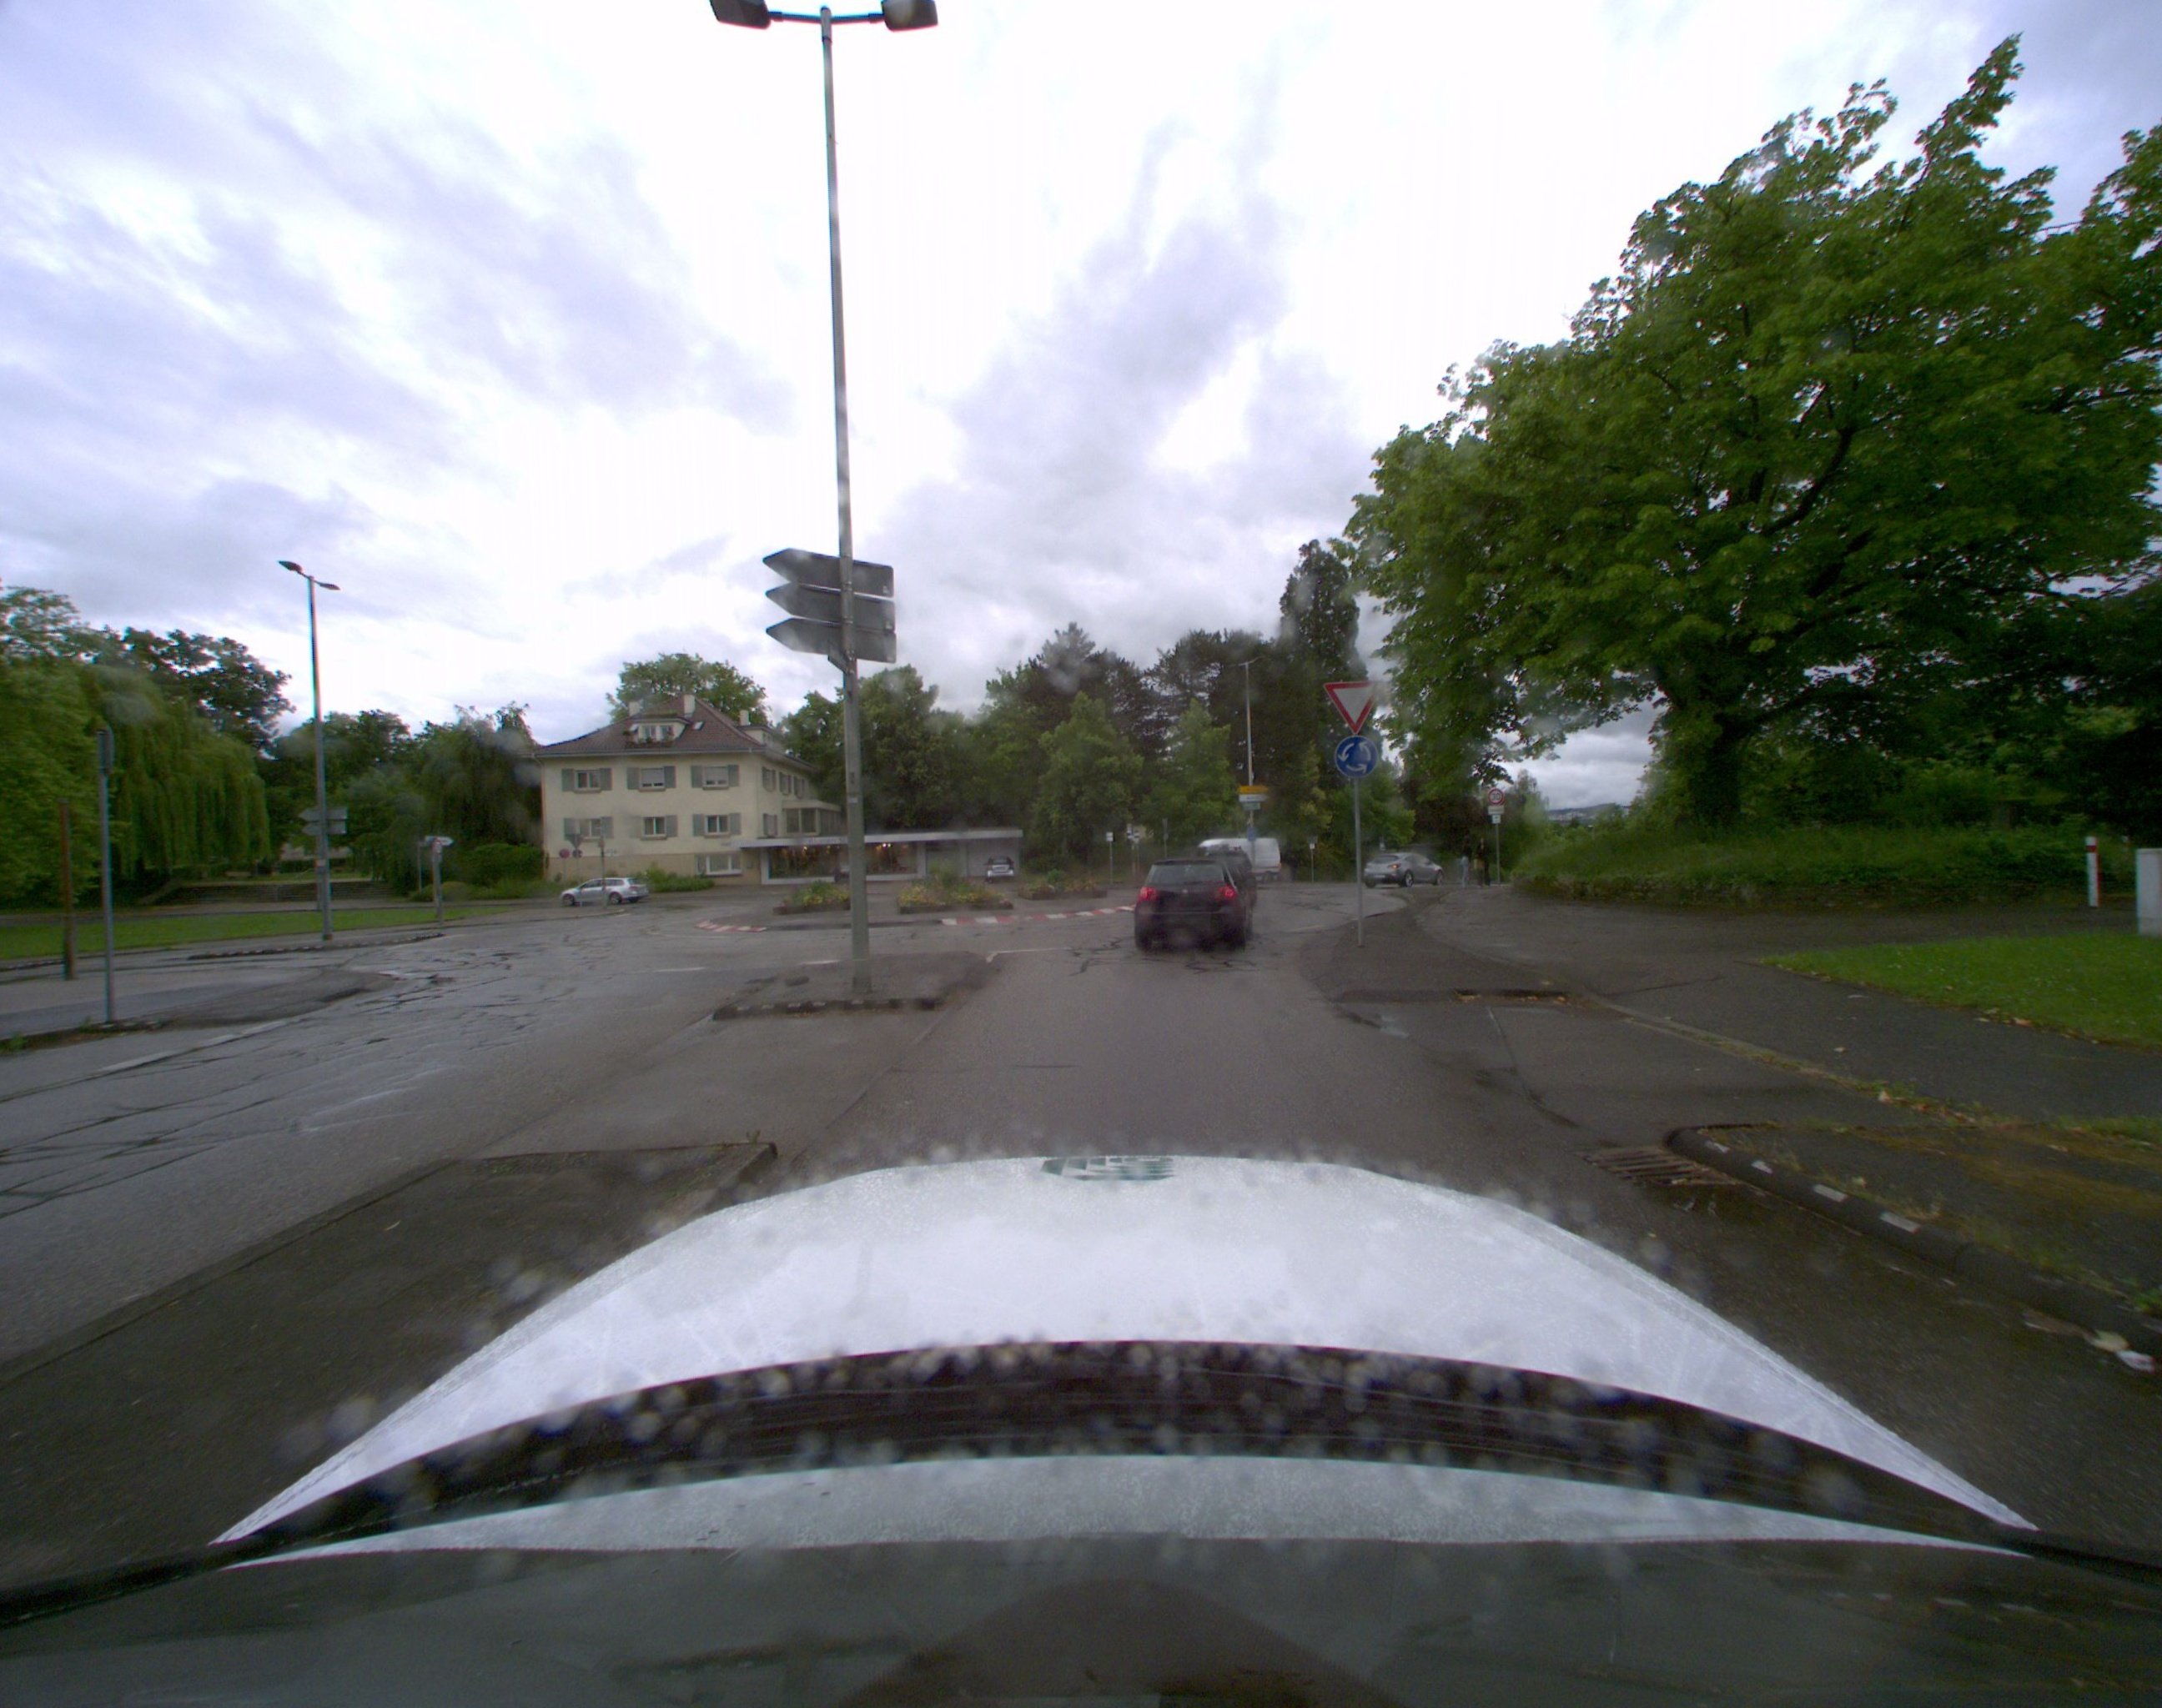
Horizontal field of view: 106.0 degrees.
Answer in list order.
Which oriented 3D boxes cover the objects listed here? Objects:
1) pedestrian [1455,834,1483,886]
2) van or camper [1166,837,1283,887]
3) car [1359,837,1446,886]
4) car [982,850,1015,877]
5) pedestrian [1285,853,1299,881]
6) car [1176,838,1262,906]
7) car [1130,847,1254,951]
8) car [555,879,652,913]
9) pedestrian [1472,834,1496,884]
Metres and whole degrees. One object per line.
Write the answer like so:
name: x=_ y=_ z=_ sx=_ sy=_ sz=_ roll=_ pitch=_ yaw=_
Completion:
pedestrian: x=13.022 y=0.200 z=27.335 sx=0.529 sy=1.713 sz=0.633 roll=0 pitch=-1 yaw=-14
van or camper: x=7.264 y=0.385 z=41.047 sx=5.683 sy=2.378 sz=2.181 roll=0 pitch=-1 yaw=-28
car: x=13.457 y=0.283 z=33.986 sx=1.748 sy=1.801 sz=4.271 roll=-4 pitch=-1 yaw=45
car: x=-5.039 y=0.544 z=49.595 sx=1.810 sy=1.486 sz=3.822 roll=-3 pitch=0 yaw=-7
pedestrian: x=13.366 y=0.838 z=51.649 sx=0.731 sy=1.725 sz=0.821 roll=-1 pitch=-1 yaw=21
car: x=4.098 y=0.531 z=24.845 sx=1.760 sy=1.801 sz=4.244 roll=-3 pitch=-1 yaw=-1
car: x=2.068 y=0.668 z=14.140 sx=1.752 sy=1.538 sz=4.014 roll=-1 pitch=0 yaw=13
car: x=-25.890 y=2.255 z=44.232 sx=4.110 sy=1.741 sz=2.003 roll=-1 pitch=-1 yaw=5
pedestrian: x=13.769 y=0.177 z=27.863 sx=0.629 sy=1.713 sz=0.532 roll=-1 pitch=-1 yaw=16
